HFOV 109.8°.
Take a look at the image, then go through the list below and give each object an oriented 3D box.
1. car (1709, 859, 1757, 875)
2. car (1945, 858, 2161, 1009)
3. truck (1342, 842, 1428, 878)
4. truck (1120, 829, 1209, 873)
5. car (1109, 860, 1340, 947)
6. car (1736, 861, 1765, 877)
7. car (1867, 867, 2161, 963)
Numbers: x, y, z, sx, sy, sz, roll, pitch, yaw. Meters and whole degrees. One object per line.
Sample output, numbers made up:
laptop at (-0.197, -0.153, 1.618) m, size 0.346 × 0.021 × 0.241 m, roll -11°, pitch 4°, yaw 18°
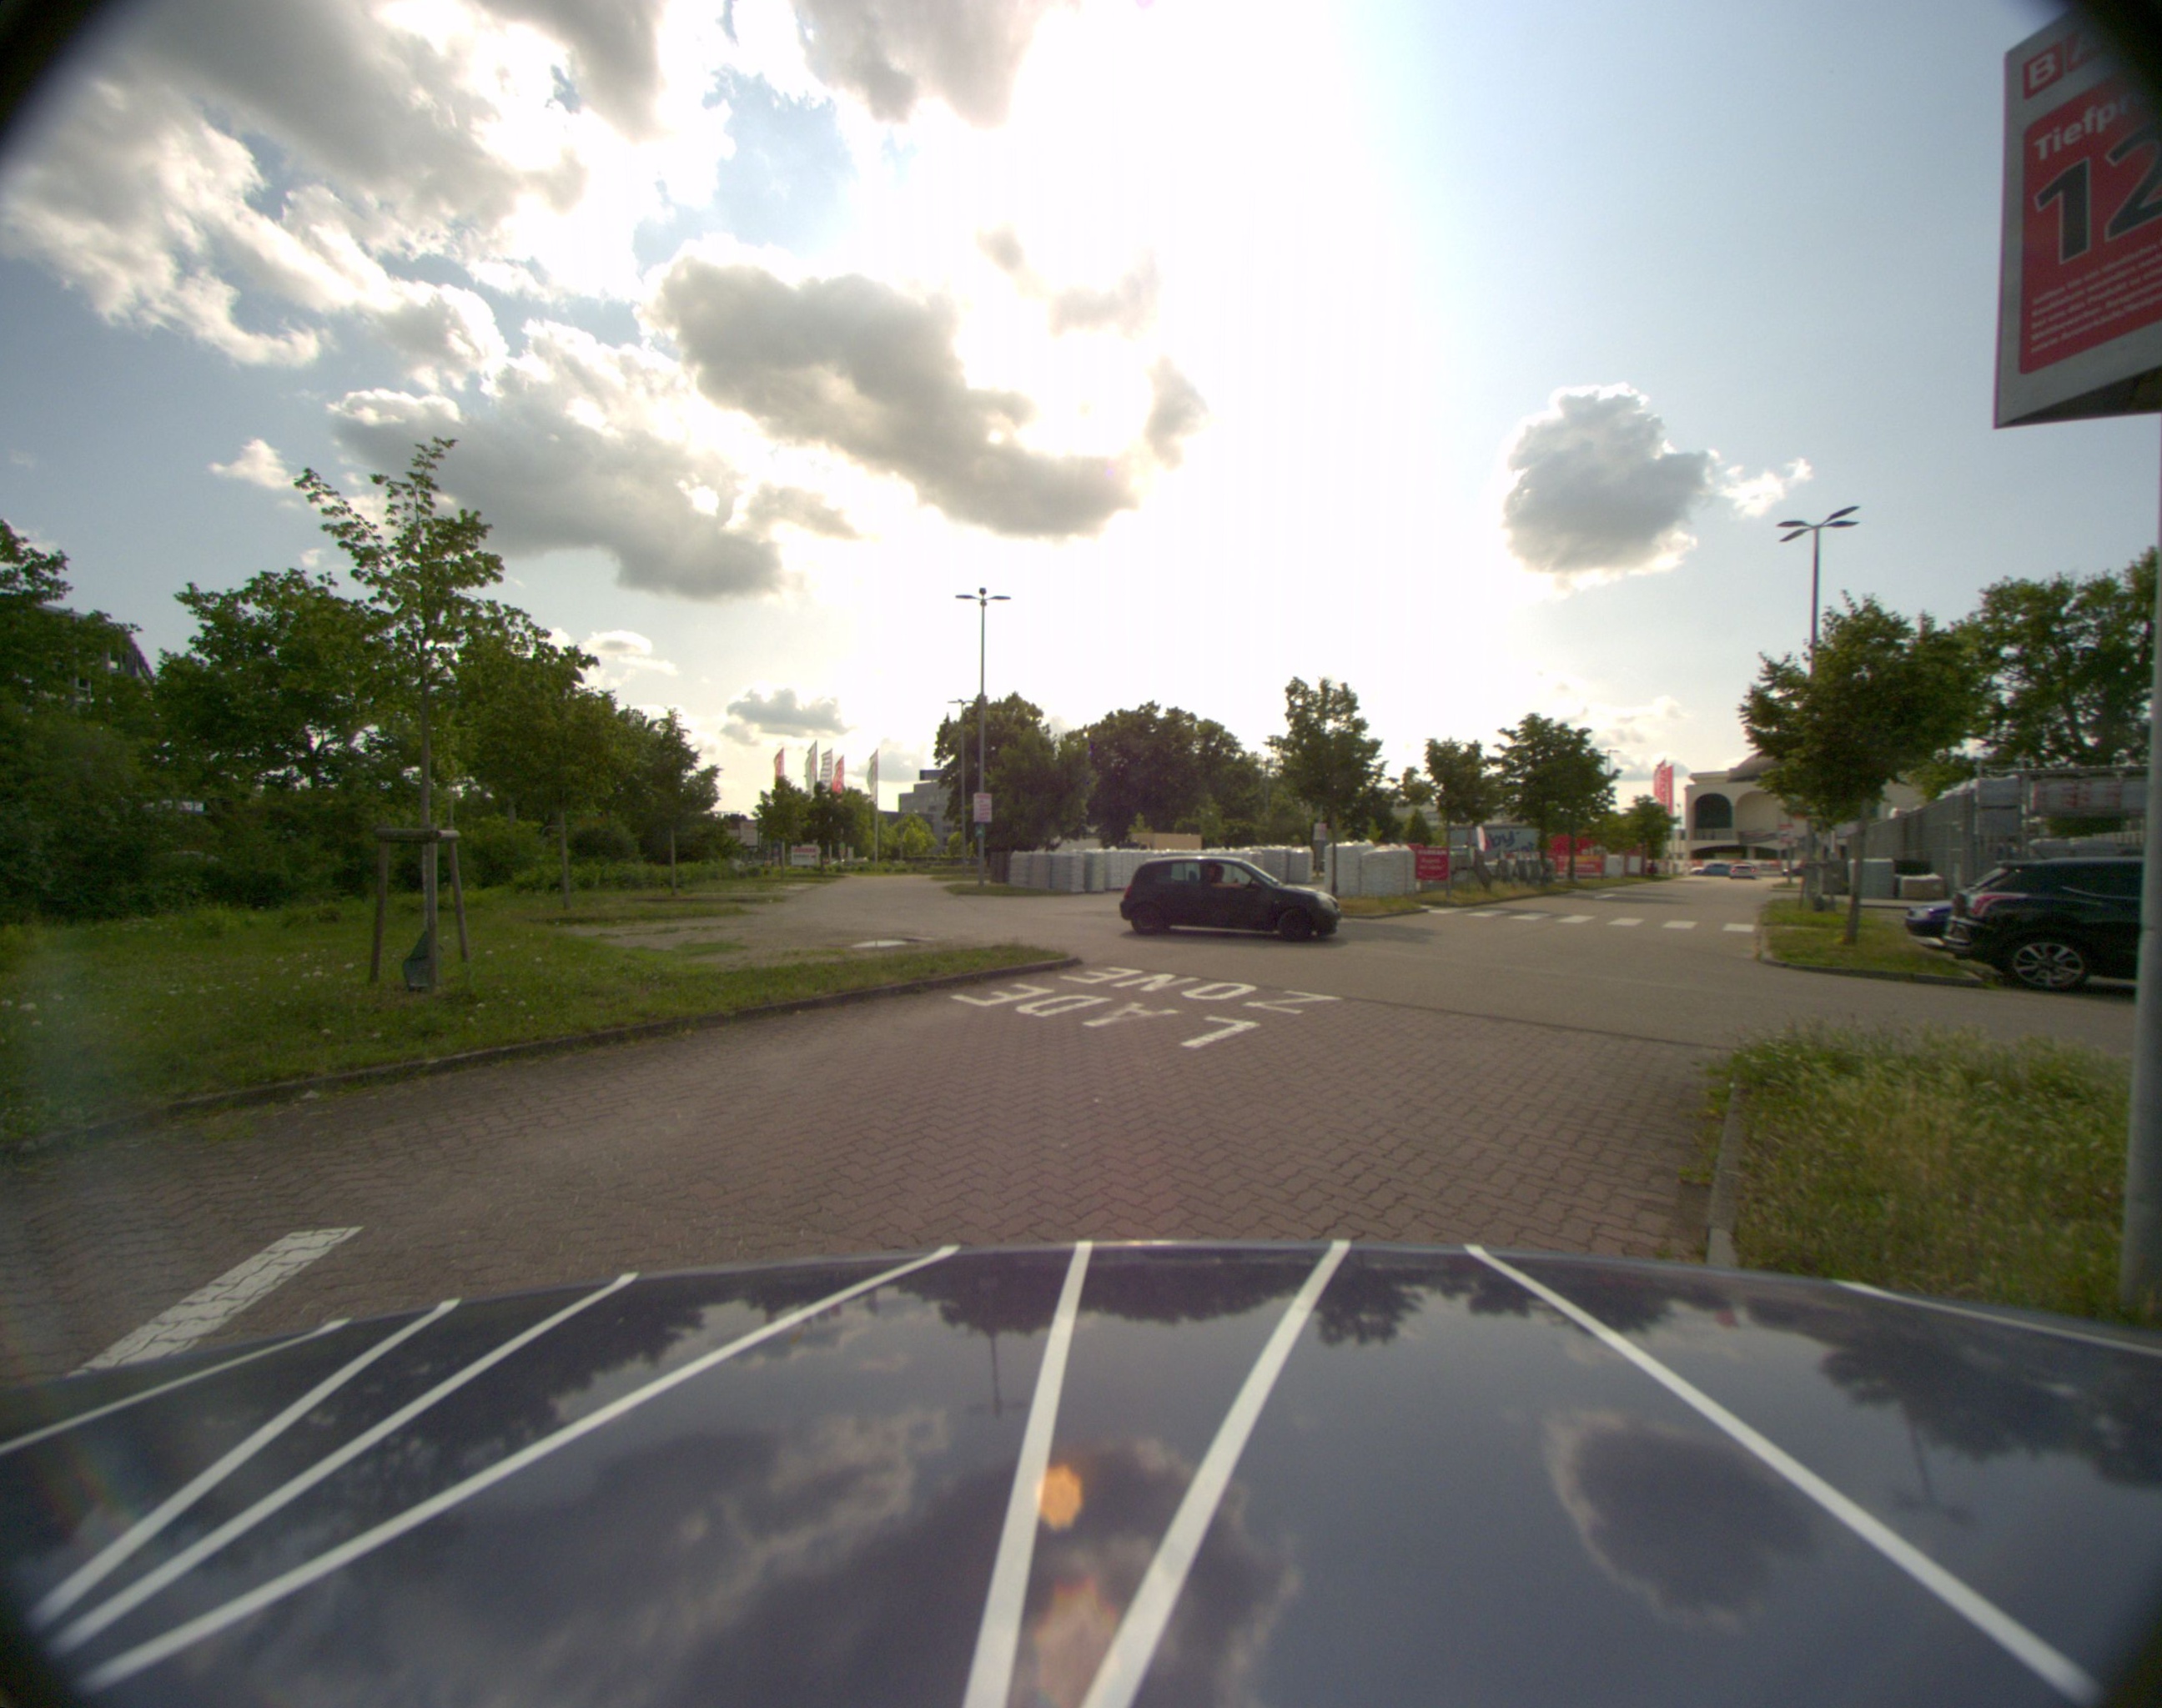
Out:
car at (73.867, 1.490, 86.111) m, size 1.782 × 1.615 × 3.988 m, roll -4°, pitch 4°, yaw -44°
car at (12.670, 0.871, 8.422) m, size 3.951 × 1.615 × 1.740 m, roll 1°, pitch 1°, yaw 45°
truck at (22.333, 0.423, 55.940) m, size 5.428 × 2.500 × 2.121 m, roll 1°, pitch 0°, yaw 40°
truck at (7.417, -0.244, 66.346) m, size 2.722 × 3.578 × 9.056 m, roll 2°, pitch 1°, yaw 44°
car at (2.543, 0.798, 13.374) m, size 3.778 × 1.313 × 1.614 m, roll 1°, pitch 0°, yaw 19°
car at (63.576, 1.422, 72.143) m, size 1.804 × 1.456 × 4.338 m, roll 1°, pitch 0°, yaw 45°
car at (15.819, 0.934, 12.607) m, size 3.751 × 1.360 × 1.625 m, roll 1°, pitch 0°, yaw 43°
